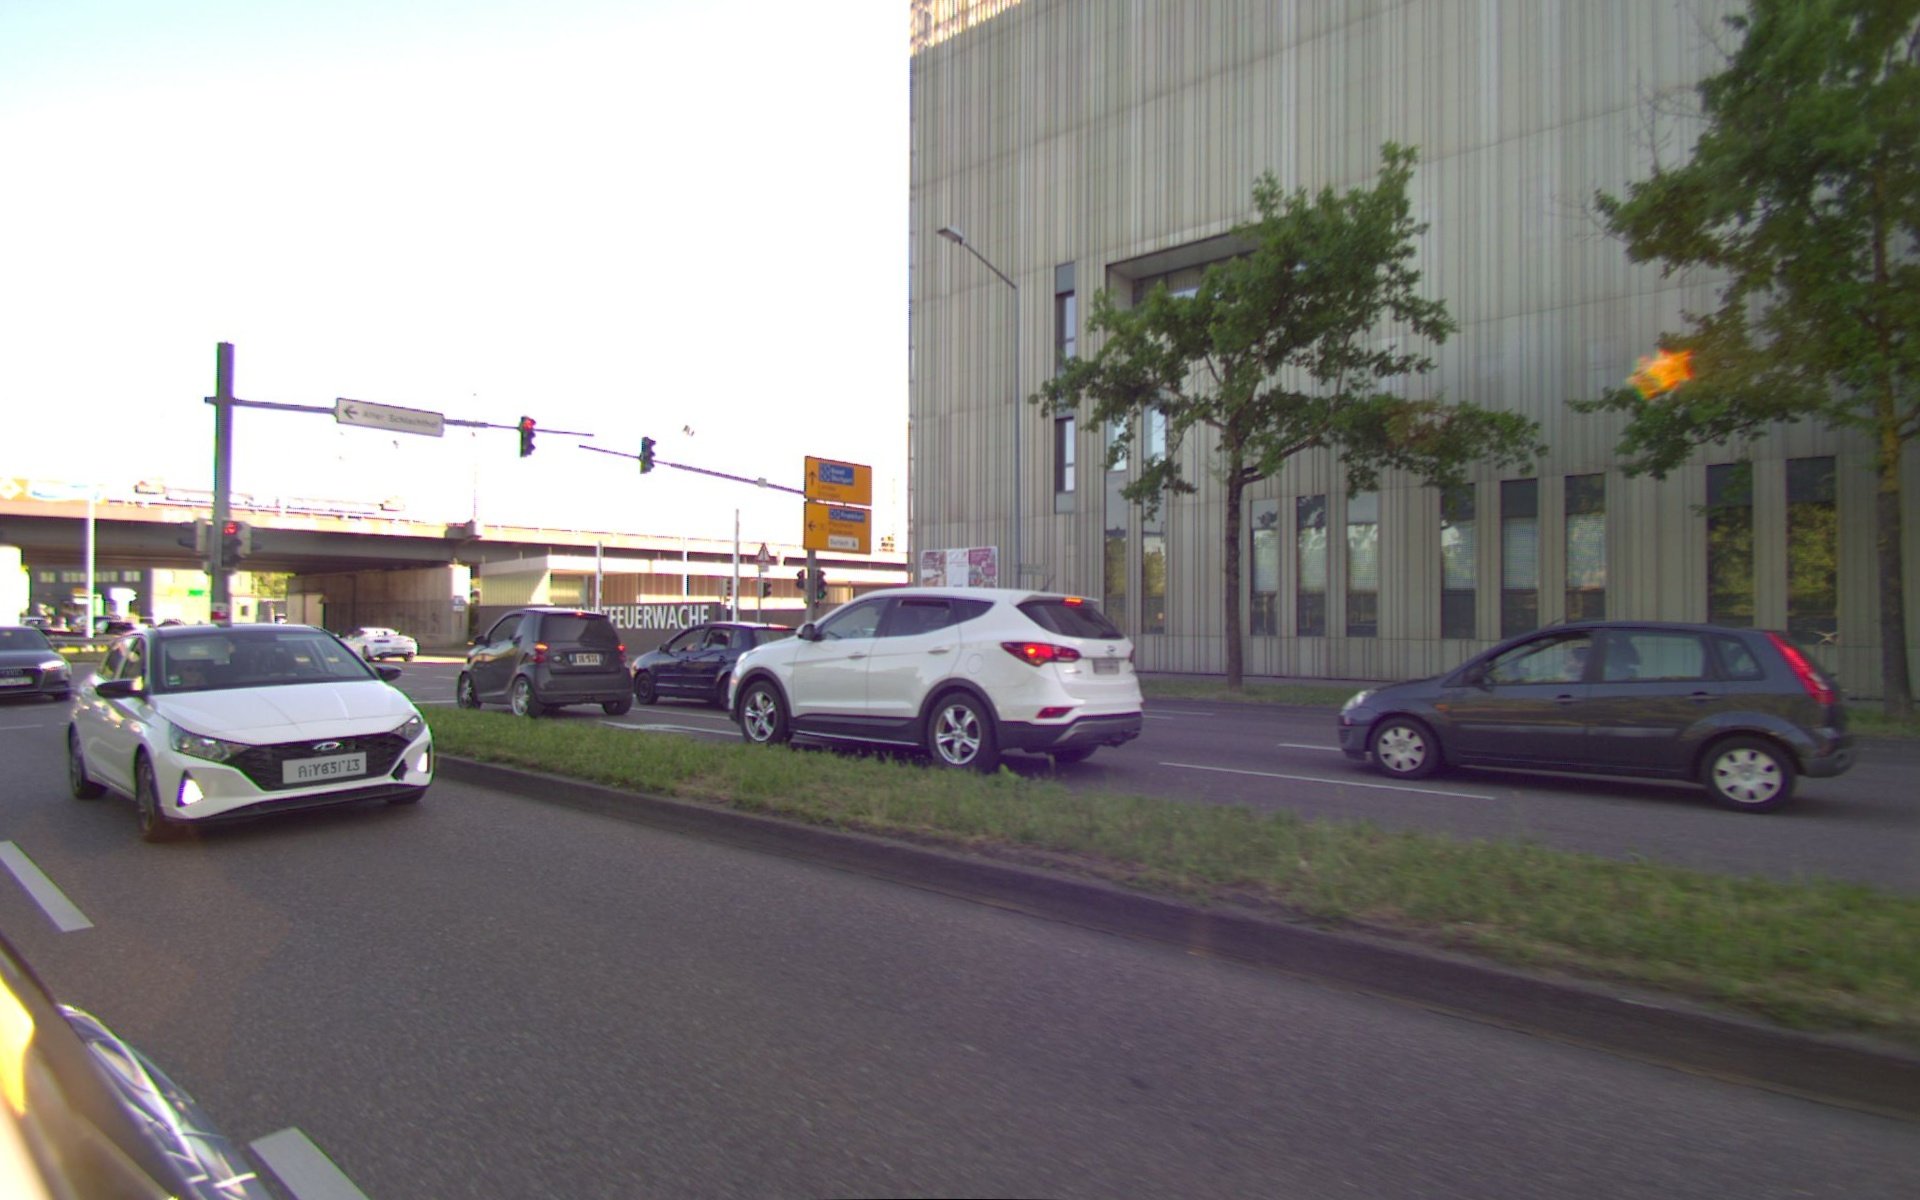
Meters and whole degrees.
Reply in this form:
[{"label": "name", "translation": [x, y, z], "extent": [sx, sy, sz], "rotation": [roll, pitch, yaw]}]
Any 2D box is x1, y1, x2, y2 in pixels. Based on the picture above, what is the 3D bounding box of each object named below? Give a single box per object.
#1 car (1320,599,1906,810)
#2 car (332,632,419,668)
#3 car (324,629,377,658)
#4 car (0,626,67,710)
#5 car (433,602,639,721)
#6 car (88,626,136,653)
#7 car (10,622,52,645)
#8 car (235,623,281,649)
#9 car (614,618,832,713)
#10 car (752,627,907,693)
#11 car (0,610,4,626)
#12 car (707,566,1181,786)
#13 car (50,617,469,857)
[{"label": "car", "translation": [5.494, 0.796, 8.909], "extent": [3.997, 1.435, 1.816], "rotation": [-2, -4, 41]}, {"label": "car", "translation": [-25.155, 2.129, 43.470], "extent": [4.878, 1.452, 1.685], "rotation": [-1, -3, 41]}, {"label": "car", "translation": [-31.866, 2.258, 52.879], "extent": [1.473, 1.422, 3.941], "rotation": [2, -3, -45]}, {"label": "car", "translation": [-18.124, 1.223, 18.816], "extent": [4.362, 1.414, 1.680], "rotation": [-1, 0, 40]}, {"label": "car", "translation": [-6.382, 0.874, 15.139], "extent": [3.211, 1.592, 1.585], "rotation": [-1, -3, 42]}, {"label": "car", "translation": [-51.784, 2.394, 61.791], "extent": [3.998, 1.552, 1.611], "rotation": [-1, -4, 42]}, {"label": "car", "translation": [-66.829, 2.412, 72.814], "extent": [3.997, 1.552, 1.705], "rotation": [-1, -4, 41]}, {"label": "car", "translation": [-44.193, 2.258, 63.716], "extent": [3.425, 1.544, 1.551], "rotation": [-2, -2, 41]}, {"label": "car", "translation": [-4.097, 1.069, 17.239], "extent": [3.750, 1.452, 1.685], "rotation": [-2, -3, 39]}, {"label": "car", "translation": [-3.199, 1.406, 24.555], "extent": [3.727, 1.474, 1.592], "rotation": [-2, -2, 38]}, {"label": "car", "translation": [-104.479, 1.928, 107.774], "extent": [1.724, 1.667, 3.844], "rotation": [-1, 0, 45]}, {"label": "car", "translation": [-0.340, 0.663, 10.002], "extent": [4.656, 1.695, 1.805], "rotation": [-1, -4, 41]}, {"label": "car", "translation": [-5.731, 0.877, 8.085], "extent": [4.071, 1.419, 1.760], "rotation": [-2, -1, 40]}]
